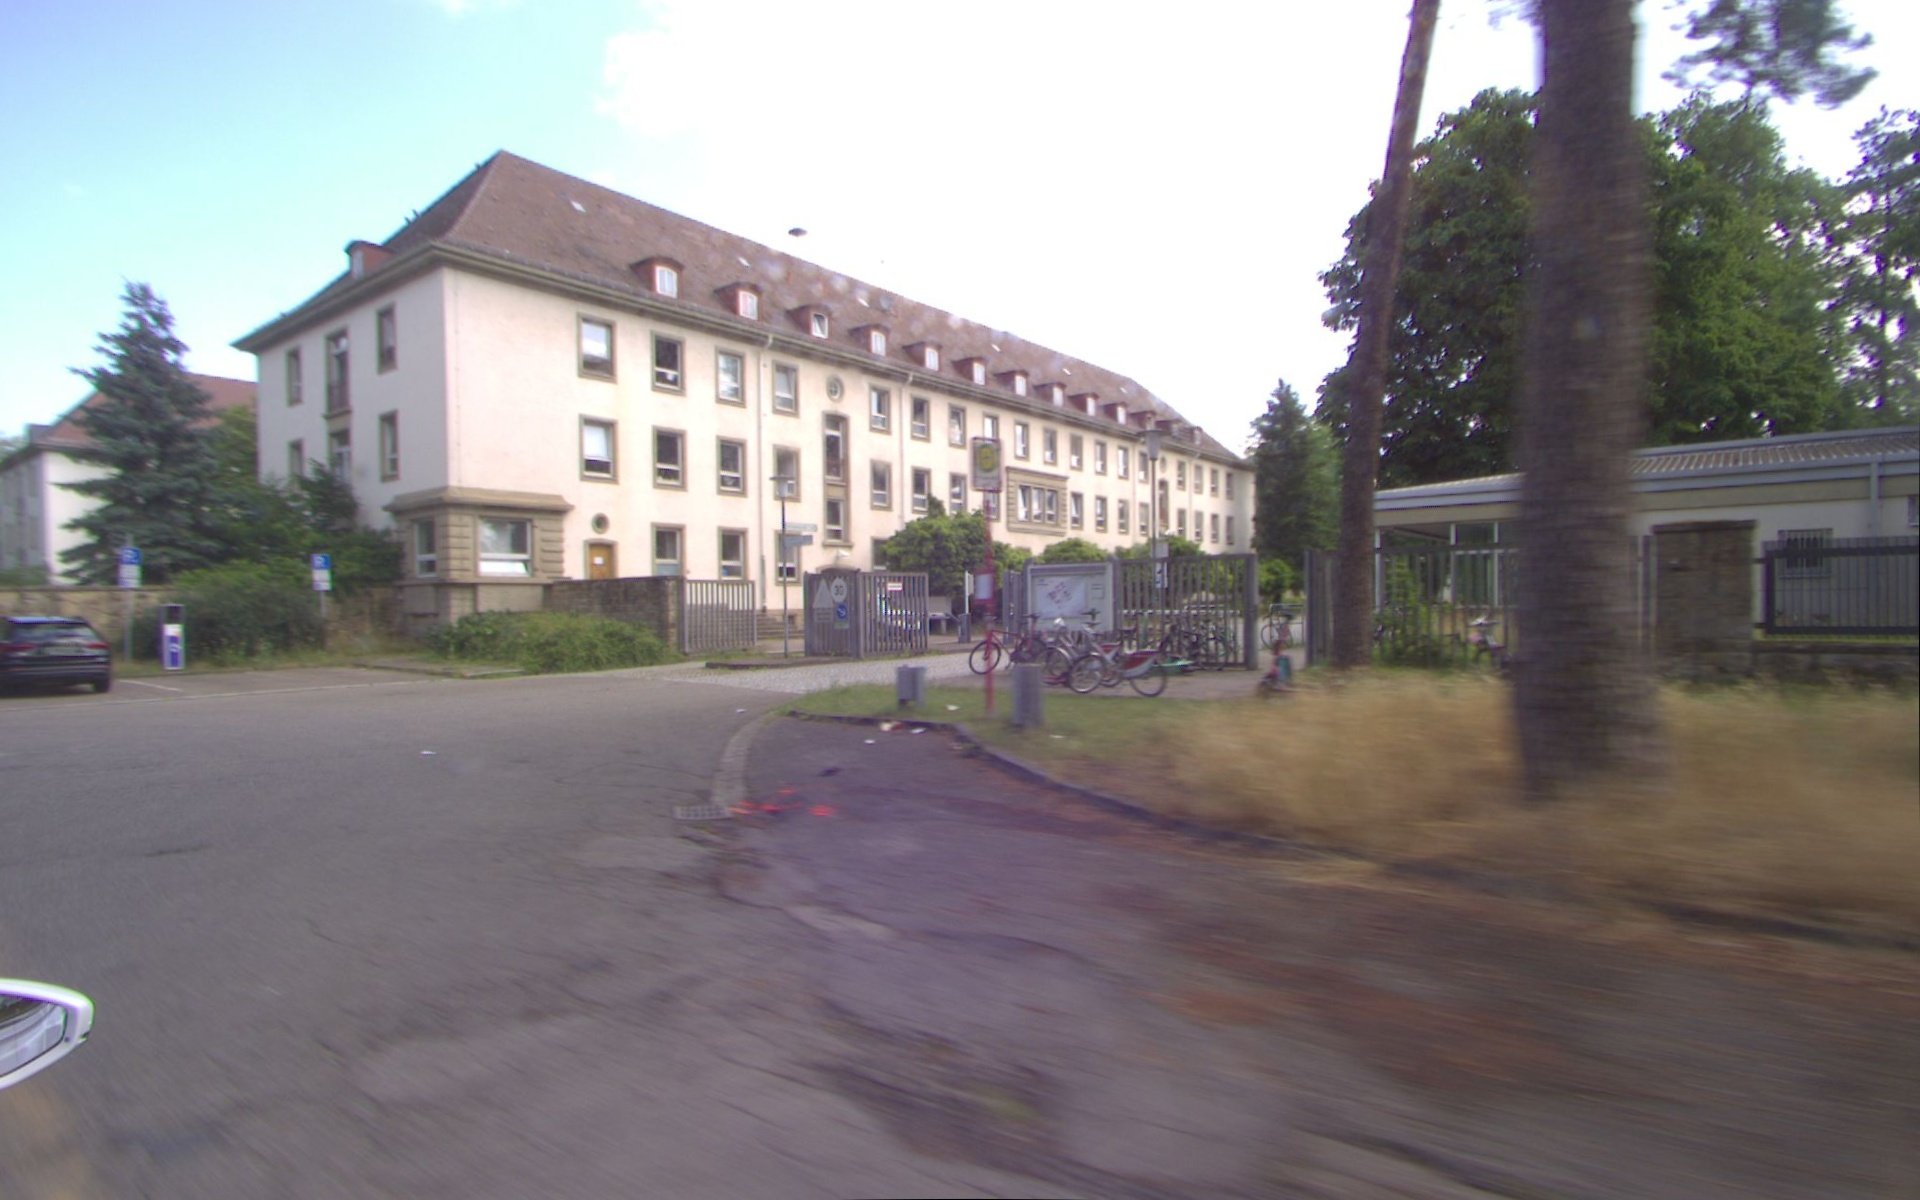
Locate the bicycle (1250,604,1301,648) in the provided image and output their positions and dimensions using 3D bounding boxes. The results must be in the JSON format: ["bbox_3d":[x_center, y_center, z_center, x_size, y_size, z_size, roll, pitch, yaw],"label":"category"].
[{"bbox_3d":[8.338,0.676,26.398,0.723,1.087,1.701,-1,0,38],"label":"bicycle"}]

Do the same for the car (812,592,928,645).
[{"bbox_3d":[-3.572,0.673,39.322,4.388,1.775,1.847,4,3,35],"label":"car"}]

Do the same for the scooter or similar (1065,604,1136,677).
[{"bbox_3d":[2.507,0.715,17.984,0.382,1.262,1.271,-2,0,-45],"label":"scooter or similar"}]

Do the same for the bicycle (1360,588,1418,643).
[{"bbox_3d":[9.515,0.364,22.184,1.705,1.185,0.433,1,-2,-40],"label":"bicycle"}]

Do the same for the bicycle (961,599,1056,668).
[{"bbox_3d":[0.926,0.657,19.426,1.717,1.294,0.668,-2,0,35],"label":"bicycle"}]

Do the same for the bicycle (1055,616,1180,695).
[{"bbox_3d":[2.310,0.797,14.771,1.661,1.098,0.736,-2,-1,37],"label":"bicycle"}]

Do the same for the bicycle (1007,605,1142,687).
[{"bbox_3d":[1.851,0.727,16.388,2.145,1.257,0.631,-1,1,34],"label":"bicycle"}]

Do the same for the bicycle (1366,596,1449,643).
[{"bbox_3d":[11.778,0.532,26.377,1.928,1.185,0.483,-1,-2,33],"label":"bicycle"}]

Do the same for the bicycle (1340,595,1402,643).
[{"bbox_3d":[10.404,0.488,25.390,1.379,1.185,0.433,-2,-2,39],"label":"bicycle"}]

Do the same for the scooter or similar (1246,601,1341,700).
[{"bbox_3d":[4.363,0.668,13.108,1.075,1.243,0.436,-3,-2,34],"label":"scooter or similar"}]

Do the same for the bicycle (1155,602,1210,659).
[{"bbox_3d":[5.007,0.665,22.446,0.496,1.186,1.703,-1,1,37],"label":"bicycle"}]

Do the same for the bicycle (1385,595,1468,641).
[{"bbox_3d":[12.597,0.500,27.075,1.990,1.185,0.400,-1,-2,26],"label":"bicycle"}]

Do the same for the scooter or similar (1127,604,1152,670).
[{"bbox_3d":[3.353,0.673,18.692,0.430,1.166,1.251,-1,1,11],"label":"scooter or similar"}]

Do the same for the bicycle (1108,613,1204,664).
[{"bbox_3d":[3.948,0.775,20.296,1.929,0.981,0.454,-1,0,40],"label":"bicycle"}]

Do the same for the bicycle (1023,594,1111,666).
[{"bbox_3d":[2.199,0.622,20.768,1.887,1.435,0.511,-2,-1,44],"label":"bicycle"}]

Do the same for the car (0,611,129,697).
[{"bbox_3d":[-19.304,1.065,21.278,3.953,1.567,1.884,1,2,41],"label":"car"}]

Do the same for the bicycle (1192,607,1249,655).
[{"bbox_3d":[6.162,0.710,23.615,0.723,1.071,1.583,-1,0,38],"label":"bicycle"}]

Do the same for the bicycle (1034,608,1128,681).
[{"bbox_3d":[2.102,0.767,17.501,0.615,1.178,1.597,-3,1,-40],"label":"bicycle"}]

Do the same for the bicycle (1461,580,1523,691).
[{"bbox_3d":[7.375,0.453,13.940,0.579,1.436,1.793,-1,1,23],"label":"bicycle"}]

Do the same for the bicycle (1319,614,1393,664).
[{"bbox_3d":[9.846,0.977,24.925,1.622,1.185,0.436,-2,-2,10],"label":"bicycle"}]

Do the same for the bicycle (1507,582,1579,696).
[{"bbox_3d":[7.889,0.484,13.614,0.568,1.436,1.977,-1,1,22],"label":"bicycle"}]

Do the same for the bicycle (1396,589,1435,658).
[{"bbox_3d":[10.723,0.568,23.544,0.431,1.088,1.598,-2,-24,38],"label":"bicycle"}]

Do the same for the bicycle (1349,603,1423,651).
[{"bbox_3d":[10.199,0.643,23.995,1.621,1.133,0.436,0,-1,-7],"label":"bicycle"}]
